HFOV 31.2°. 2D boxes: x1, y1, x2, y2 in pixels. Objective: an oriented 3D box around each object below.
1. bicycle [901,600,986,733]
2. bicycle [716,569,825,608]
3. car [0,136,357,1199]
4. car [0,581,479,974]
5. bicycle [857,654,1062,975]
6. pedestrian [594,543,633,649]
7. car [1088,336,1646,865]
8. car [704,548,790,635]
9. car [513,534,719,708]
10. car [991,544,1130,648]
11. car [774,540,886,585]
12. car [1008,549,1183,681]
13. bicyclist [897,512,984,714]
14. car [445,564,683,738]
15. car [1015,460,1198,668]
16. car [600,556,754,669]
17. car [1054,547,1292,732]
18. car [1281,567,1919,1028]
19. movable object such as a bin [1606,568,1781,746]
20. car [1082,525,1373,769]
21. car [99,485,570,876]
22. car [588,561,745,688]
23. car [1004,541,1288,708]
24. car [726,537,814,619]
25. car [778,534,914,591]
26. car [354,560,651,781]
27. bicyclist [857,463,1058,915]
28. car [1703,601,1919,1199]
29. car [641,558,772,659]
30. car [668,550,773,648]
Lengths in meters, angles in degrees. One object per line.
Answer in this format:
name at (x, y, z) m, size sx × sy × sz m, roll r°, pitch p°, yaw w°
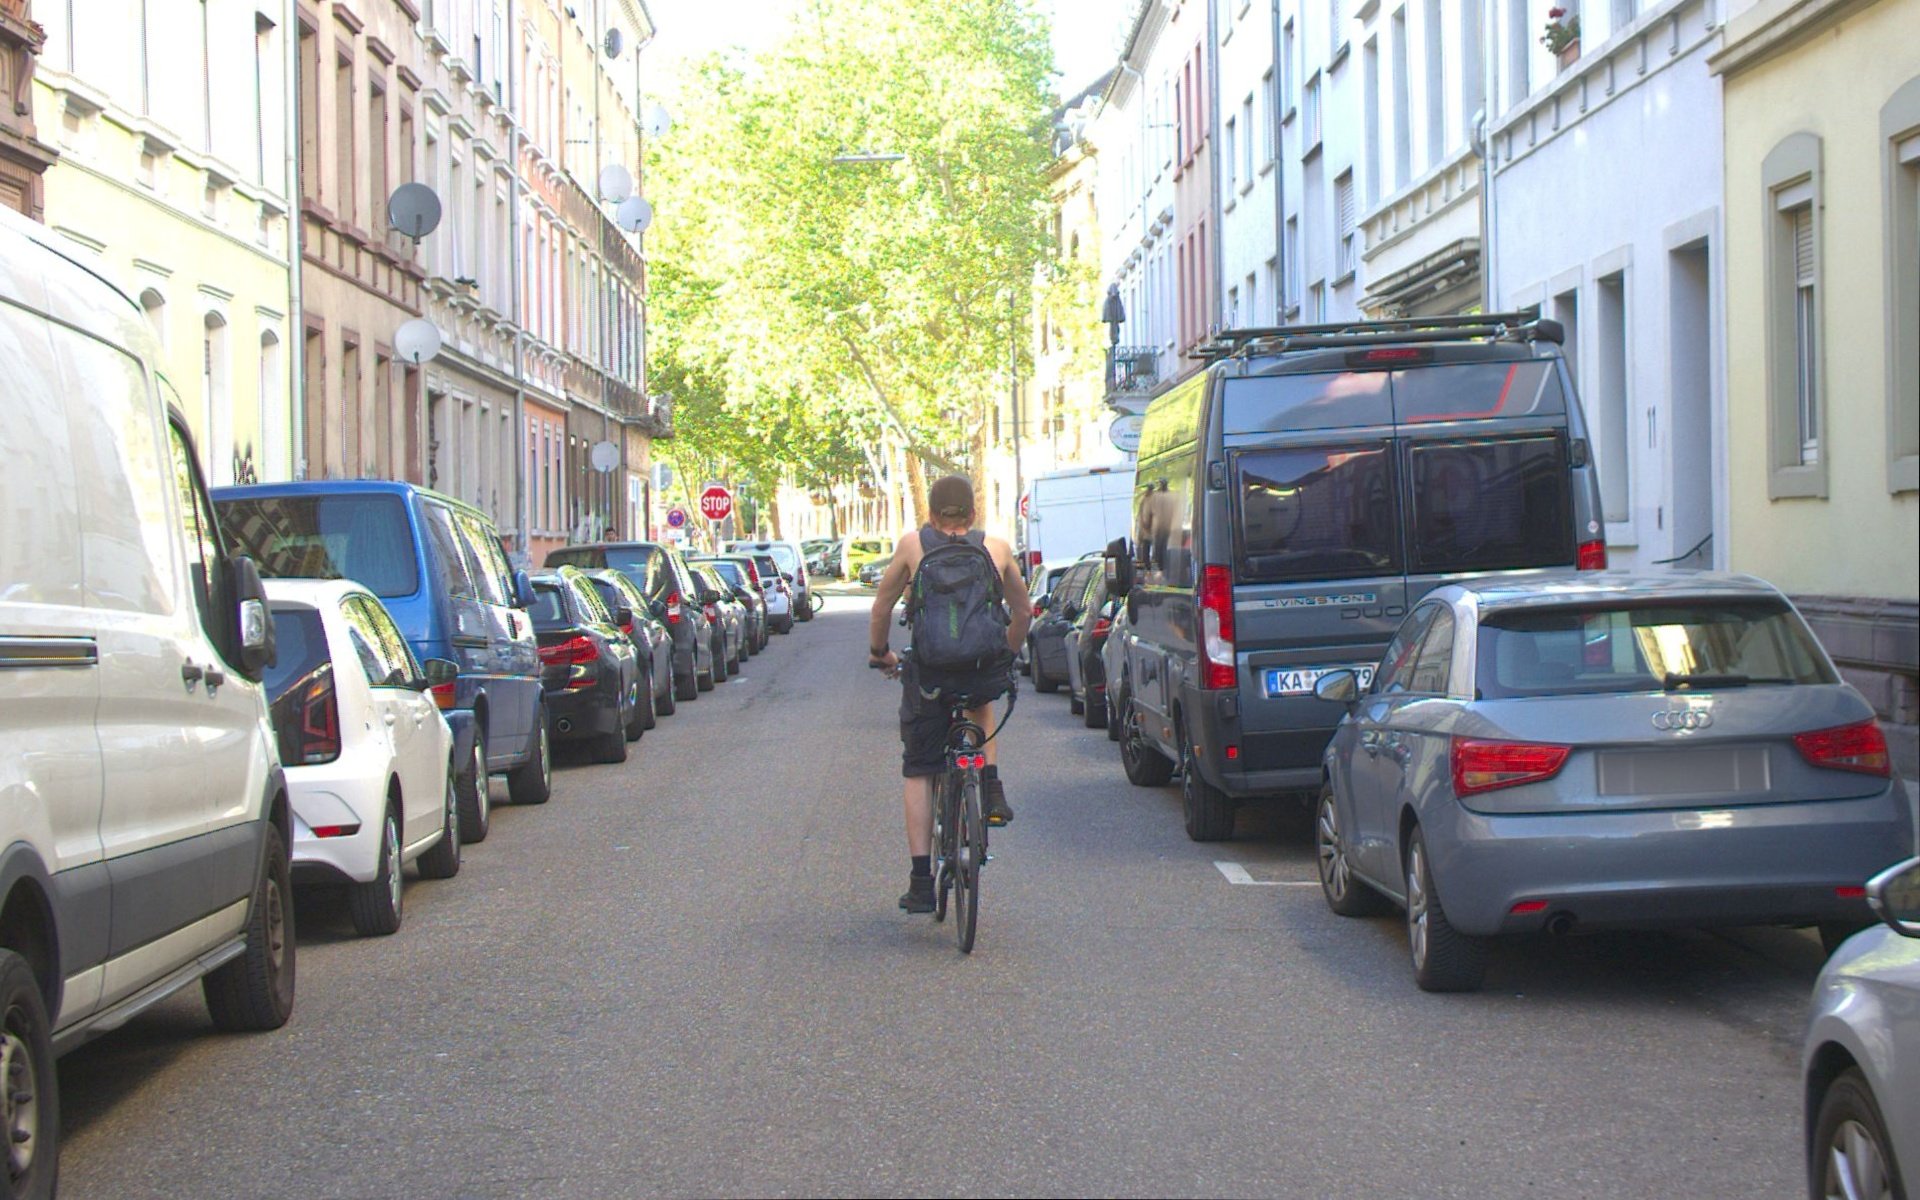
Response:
bicycle at (-0.151, 0.542, 29.003) m, size 0.664 × 1.034 × 1.959 m, roll -2°, pitch 1°, yaw -1°
bicycle at (-4.783, -0.290, 86.725) m, size 2.715 × 0.889 × 0.619 m, roll -2°, pitch 1°, yaw -3°
car at (-3.180, 0.235, 9.272) m, size 2.168 × 2.443 × 5.922 m, roll -3°, pitch 1°, yaw -2°
car at (-3.178, 0.685, 15.334) m, size 1.645 × 1.442 × 3.840 m, roll -2°, pitch 1°, yaw -2°
bicycle at (-0.024, 0.793, 13.452) m, size 0.740 × 1.097 × 2.042 m, roll 0°, pitch 1°, yaw -1°
pedestrian at (-6.074, -0.076, 60.247) m, size 0.610 × 1.852 × 0.754 m, roll 1°, pitch 1°, yaw -1°
car at (2.062, -0.052, 19.542) m, size 2.175 × 2.417 × 6.310 m, roll -3°, pitch 1°, yaw -1°
car at (-4.036, -0.182, 64.986) m, size 1.544 × 1.545 × 3.466 m, roll -2°, pitch 1°, yaw -4°
car at (-3.707, 0.189, 37.638) m, size 1.801 × 1.692 × 4.000 m, roll -4°, pitch 1°, yaw -1°
car at (1.500, -0.090, 52.603) m, size 1.731 × 1.465 × 4.022 m, roll -2°, pitch 1°, yaw -3°
car at (-5.376, -1.564, 141.926) m, size 4.468 × 1.690 × 1.867 m, roll -2°, pitch 1°, yaw -5°
car at (1.555, 0.135, 40.631) m, size 1.725 × 1.424 × 3.833 m, roll -2°, pitch 1°, yaw -2°
bicyclist at (-0.165, 0.099, 28.963) m, size 0.669 × 1.653 × 0.877 m, roll -2°, pitch 1°, yaw -1°
car at (-3.578, 0.418, 31.682) m, size 1.736 × 1.422 × 4.000 m, roll -2°, pitch 1°, yaw -1°
car at (1.898, -0.504, 46.069) m, size 2.204 × 2.542 × 6.036 m, roll -2°, pitch 1°, yaw 1°
car at (-3.877, 0.137, 47.594) m, size 1.674 × 1.425 × 3.888 m, roll -2°, pitch 1°, yaw 1°
car at (1.833, 0.292, 30.798) m, size 1.746 × 1.480 × 4.243 m, roll -2°, pitch 1°, yaw -1°
car at (2.348, 0.622, 13.250) m, size 1.747 × 1.439 × 4.172 m, roll -1°, pitch 1°, yaw -1°
movable object such as a bin at (4.652, 0.351, 21.852) m, size 0.863 × 1.039 × 0.708 m, roll -5°, pitch 1°, yaw -3°
car at (1.935, 0.290, 26.047) m, size 1.693 × 1.602 × 4.375 m, roll -3°, pitch 1°, yaw -1°
car at (-3.465, 0.372, 19.924) m, size 1.827 × 1.885 × 4.614 m, roll -4°, pitch 1°, yaw -1°
car at (-3.594, 0.265, 42.620) m, size 1.592 × 1.435 × 3.654 m, roll -2°, pitch 1°, yaw 0°
car at (1.838, 0.196, 35.581) m, size 1.811 × 1.473 × 4.609 m, roll -5°, pitch 2°, yaw -10°
car at (-4.233, -0.520, 77.185) m, size 1.787 × 1.731 × 3.876 m, roll -2°, pitch 1°, yaw -1°
car at (-3.878, -1.274, 116.351) m, size 4.468 × 1.753 × 1.867 m, roll -2°, pitch 1°, yaw -5°
car at (-3.441, 0.473, 26.621) m, size 1.862 × 1.435 × 4.646 m, roll -2°, pitch 2°, yaw -3°
bicyclist at (-0.021, 0.321, 13.295) m, size 0.740 × 1.673 × 1.117 m, roll 0°, pitch 1°, yaw -1°
car at (2.435, 0.725, 4.370) m, size 1.786 × 1.449 × 4.547 m, roll -4°, pitch 1°, yaw -2°
car at (-3.844, 0.094, 52.654) m, size 1.706 × 1.409 × 4.302 m, roll -2°, pitch 1°, yaw -1°
car at (-3.986, -0.041, 57.612) m, size 1.604 × 1.525 × 3.379 m, roll -3°, pitch 1°, yaw -3°
